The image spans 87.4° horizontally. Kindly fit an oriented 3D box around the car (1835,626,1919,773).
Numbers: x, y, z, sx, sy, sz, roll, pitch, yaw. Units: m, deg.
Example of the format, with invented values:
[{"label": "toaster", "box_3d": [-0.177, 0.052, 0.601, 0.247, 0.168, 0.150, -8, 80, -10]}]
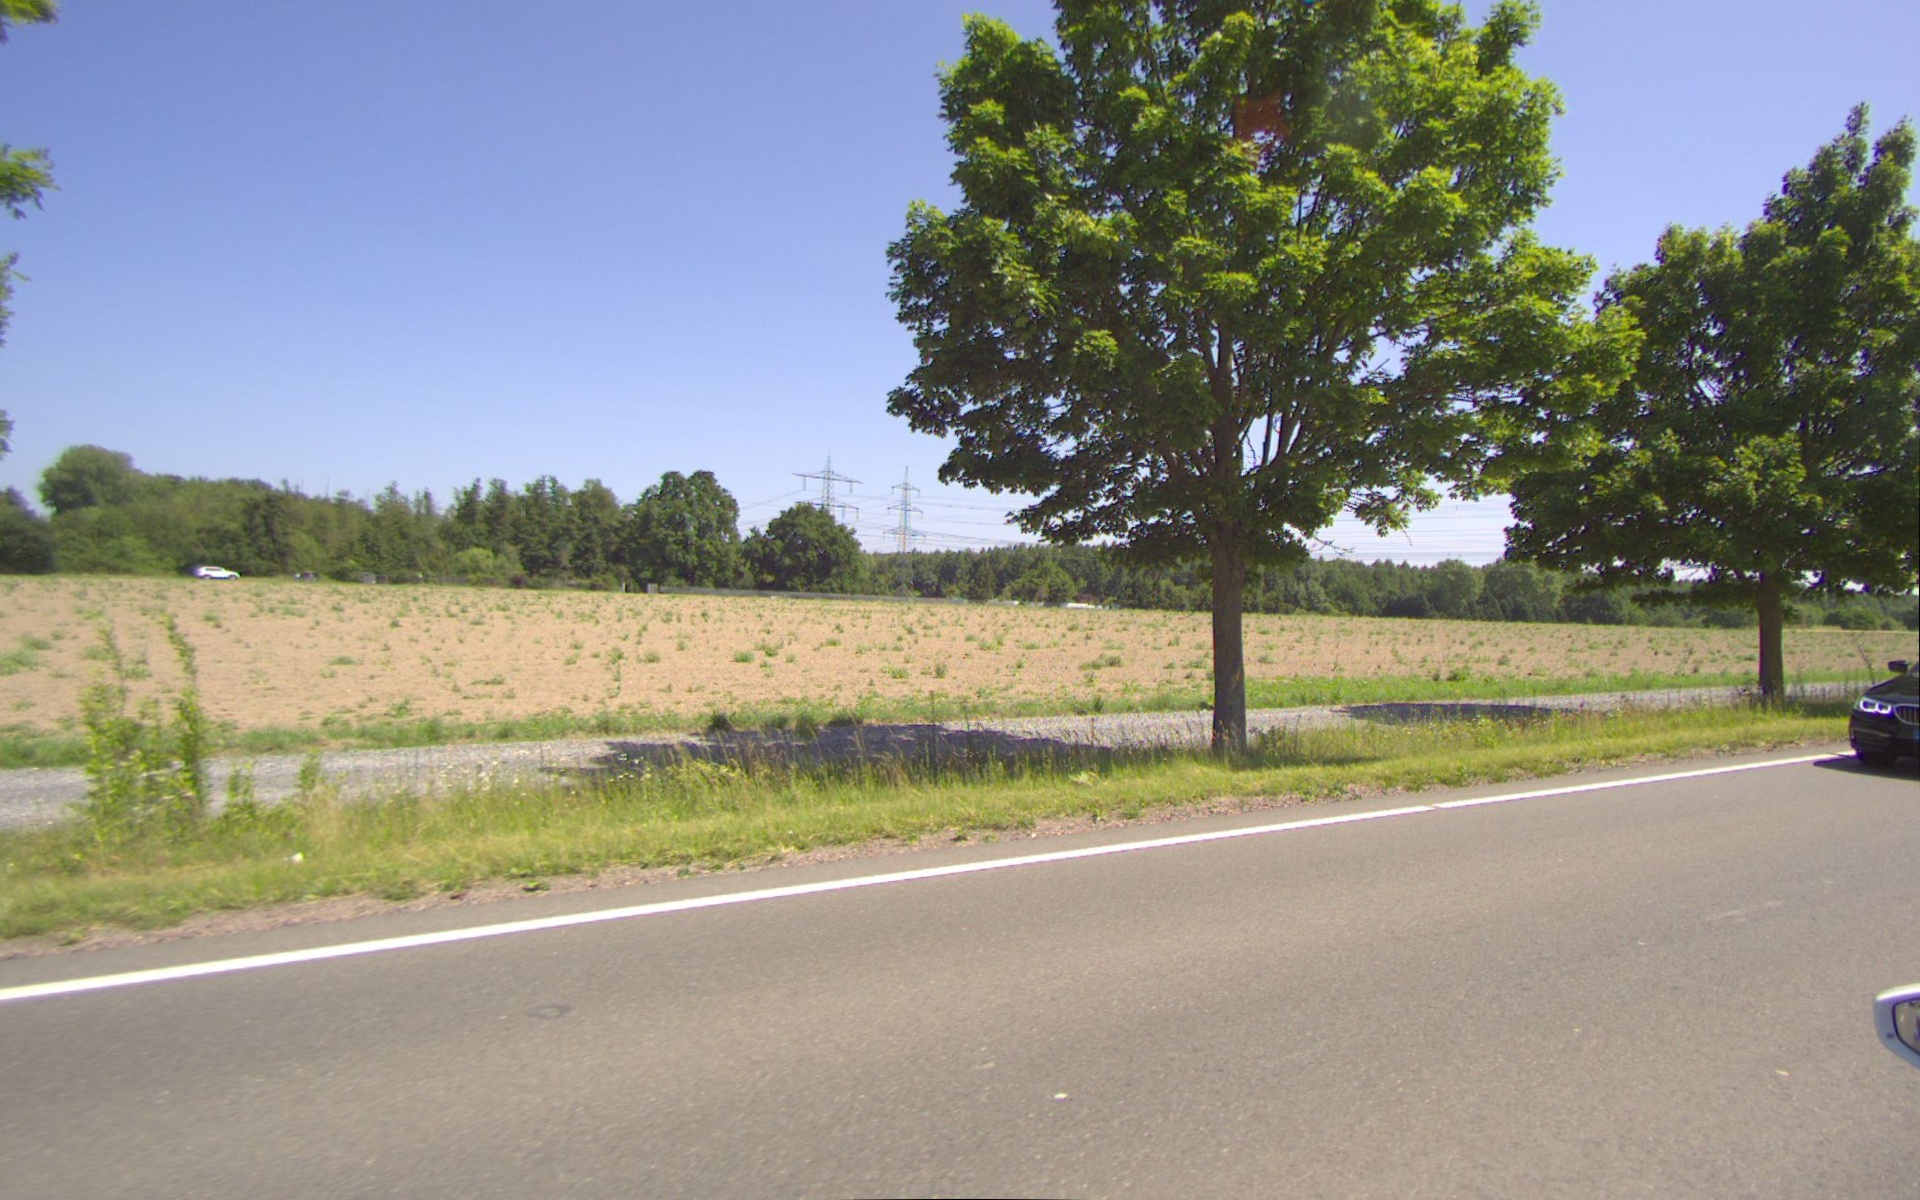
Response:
[{"label": "car", "box_3d": [11.634, 1.071, 10.951, 4.535, 1.439, 1.813, 2, 0, -30]}]
